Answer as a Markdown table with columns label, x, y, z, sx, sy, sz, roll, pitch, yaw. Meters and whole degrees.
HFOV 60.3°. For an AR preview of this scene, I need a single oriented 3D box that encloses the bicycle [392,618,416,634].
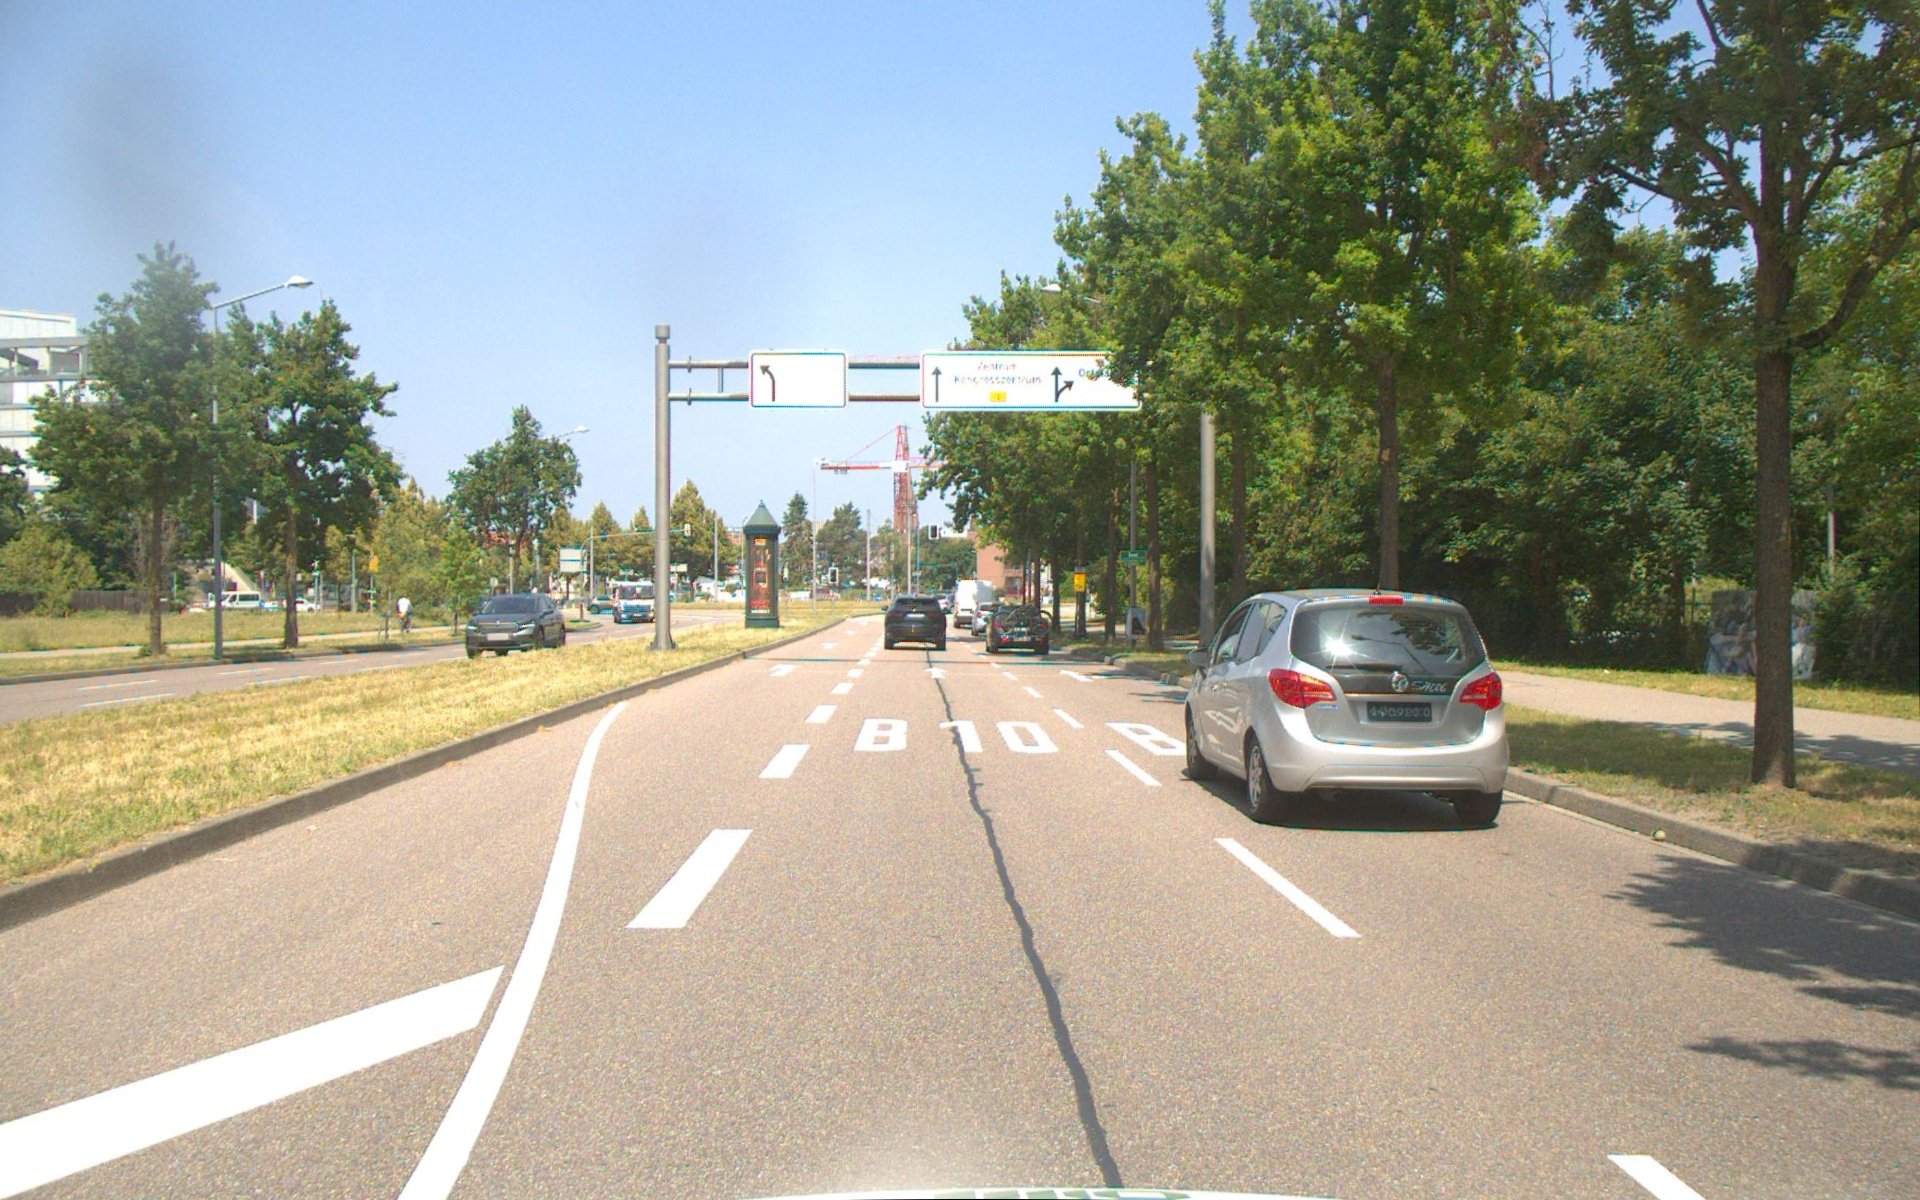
| label | x | y | z | sx | sy | sz | roll | pitch | yaw |
| --- | --- | --- | --- | --- | --- | --- | --- | --- | --- |
| bicycle | -25.872 | 1.203 | 76.972 | 0.471 | 0.728 | 1.850 | 0 | 0 | 1 |

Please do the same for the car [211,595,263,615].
| label | x | y | z | sx | sy | sz | roll | pitch | yaw |
| --- | --- | --- | --- | --- | --- | --- | --- | --- | --- |
| car | -69.524 | 0.480 | 159.048 | 1.955 | 1.911 | 4.283 | 0 | 0 | 28 |

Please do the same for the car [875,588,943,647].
| label | x | y | z | sx | sy | sz | roll | pitch | yaw |
| --- | --- | --- | --- | --- | --- | --- | --- | --- | --- |
| car | -1.535 | 0.510 | 51.253 | 1.957 | 1.719 | 4.033 | 1 | 1 | 0 |

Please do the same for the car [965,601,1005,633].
| label | x | y | z | sx | sy | sz | roll | pitch | yaw |
| --- | --- | --- | --- | --- | --- | --- | --- | --- | --- |
| car | 1.080 | 0.741 | 74.217 | 1.621 | 1.380 | 4.459 | 0 | 0 | -1 |

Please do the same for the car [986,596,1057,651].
| label | x | y | z | sx | sy | sz | roll | pitch | yaw |
| --- | --- | --- | --- | --- | --- | --- | --- | --- | --- |
| car | 1.772 | 0.655 | 48.964 | 1.973 | 1.544 | 4.461 | 0 | 0 | 0 |

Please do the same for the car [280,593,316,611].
| label | x | y | z | sx | sy | sz | roll | pitch | yaw |
| --- | --- | --- | --- | --- | --- | --- | --- | --- | --- |
| car | -77.834 | 0.285 | 194.503 | 3.932 | 1.848 | 1.986 | 0 | -7 | -23 |

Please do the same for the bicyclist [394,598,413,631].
| label | x | y | z | sx | sy | sz | roll | pitch | yaw |
| --- | --- | --- | --- | --- | --- | --- | --- | --- | --- |
| bicyclist | -25.896 | 0.683 | 76.984 | 0.610 | 1.515 | 0.757 | 0 | 0 | 1 |

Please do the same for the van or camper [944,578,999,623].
| label | x | y | z | sx | sy | sz | roll | pitch | yaw |
| --- | --- | --- | --- | --- | --- | --- | --- | --- | --- |
| van or camper | 0.603 | 0.018 | 88.973 | 2.445 | 2.331 | 4.915 | 0 | 0 | -6 |

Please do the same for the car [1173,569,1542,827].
| label | x | y | z | sx | sy | sz | roll | pitch | yaw |
| --- | --- | --- | --- | --- | --- | --- | --- | --- | --- |
| car | 2.822 | 0.613 | 12.623 | 1.756 | 1.640 | 3.889 | 1 | 1 | -2 |

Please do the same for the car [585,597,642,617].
| label | x | y | z | sx | sy | sz | roll | pitch | yaw |
| --- | --- | --- | --- | --- | --- | --- | --- | --- | --- |
| car | -26.425 | 0.523 | 126.172 | 3.906 | 1.478 | 2.000 | 0 | 0 | -1 |

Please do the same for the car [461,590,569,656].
| label | x | y | z | sx | sy | sz | roll | pitch | yaw |
| --- | --- | --- | --- | --- | --- | --- | --- | --- | --- |
| car | -11.572 | 0.560 | 43.311 | 1.855 | 1.639 | 4.531 | 0 | 0 | -4 |

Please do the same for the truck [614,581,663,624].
| label | x | y | z | sx | sy | sz | roll | pitch | yaw |
| --- | --- | --- | --- | --- | --- | --- | --- | --- | --- |
| truck | -20.473 | 0.152 | 105.496 | 2.588 | 2.621 | 6.309 | 0 | 0 | -7 |
